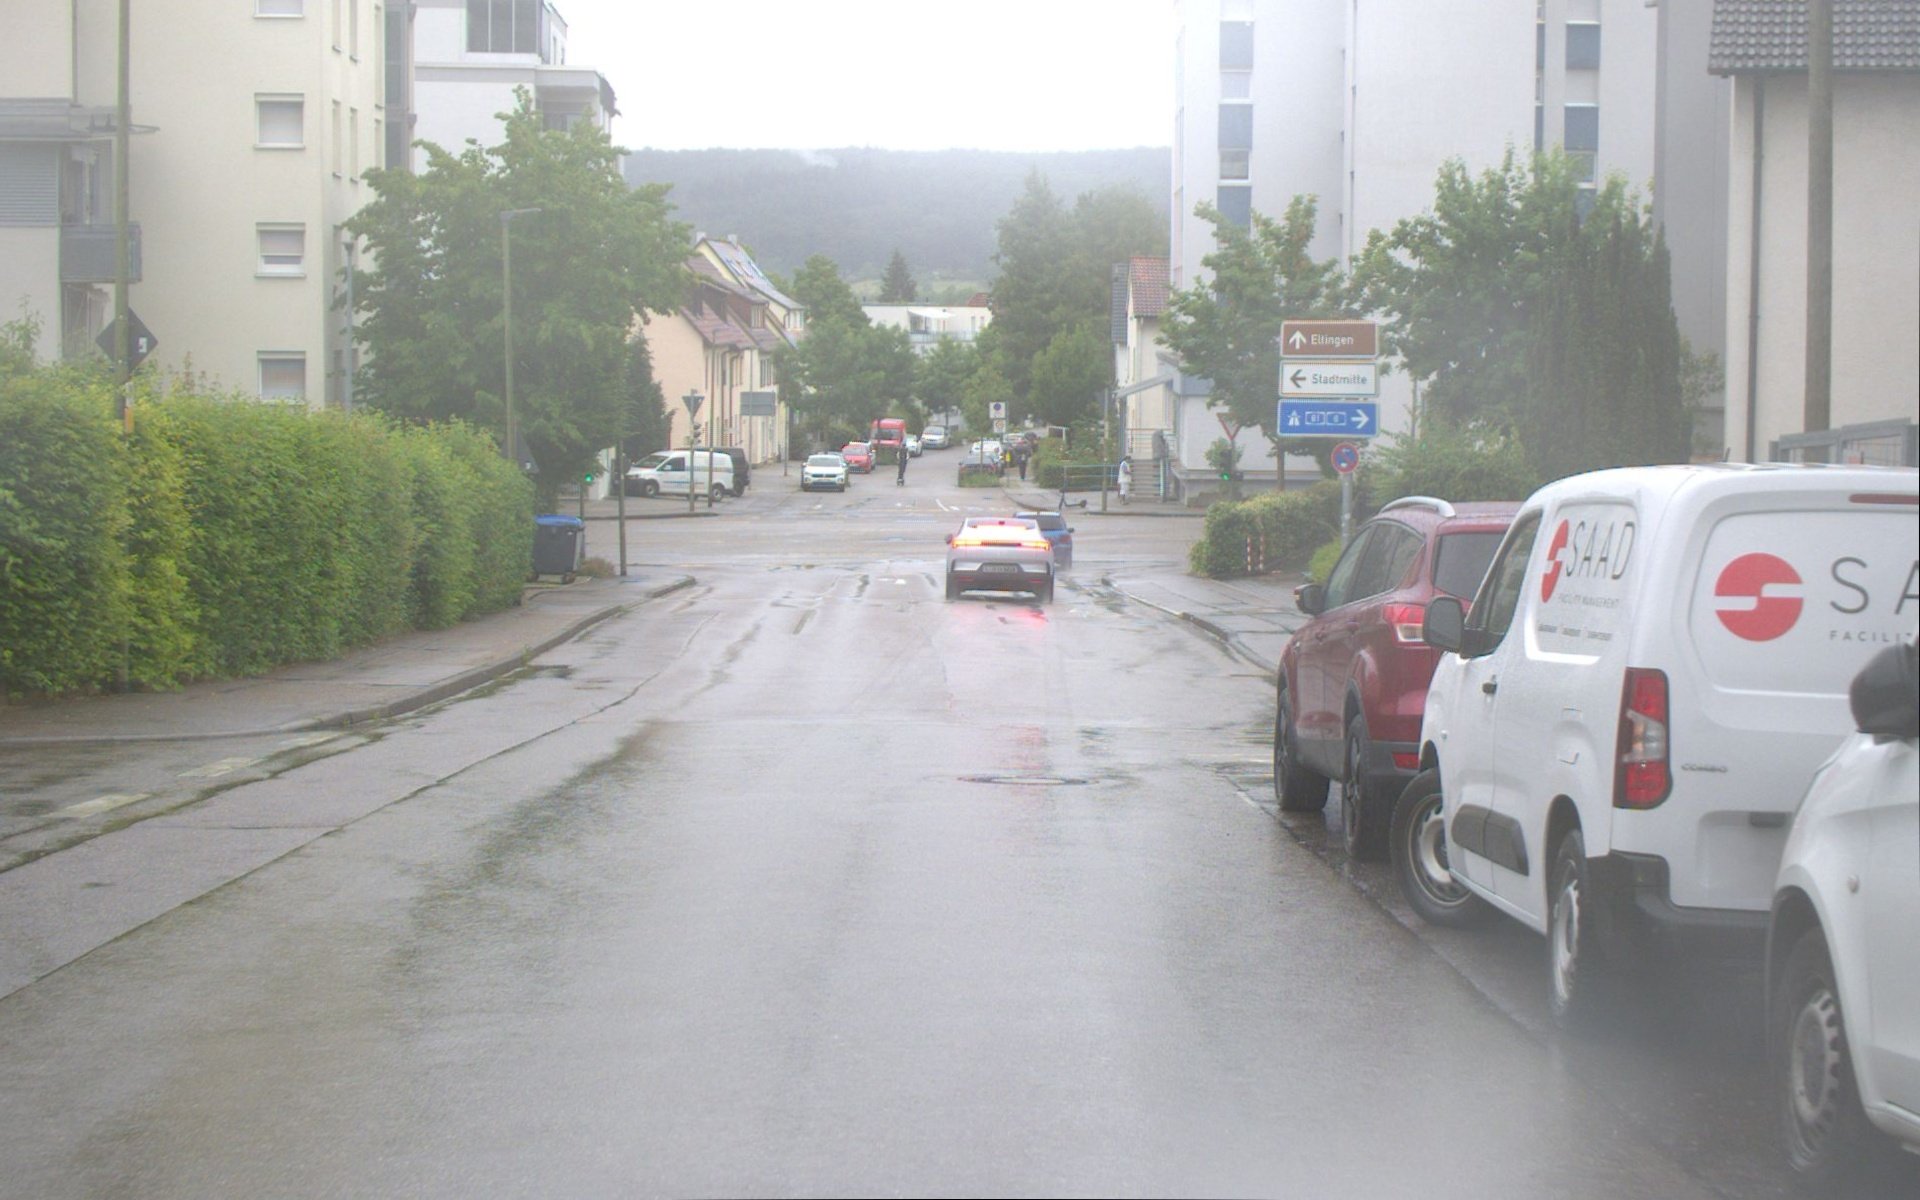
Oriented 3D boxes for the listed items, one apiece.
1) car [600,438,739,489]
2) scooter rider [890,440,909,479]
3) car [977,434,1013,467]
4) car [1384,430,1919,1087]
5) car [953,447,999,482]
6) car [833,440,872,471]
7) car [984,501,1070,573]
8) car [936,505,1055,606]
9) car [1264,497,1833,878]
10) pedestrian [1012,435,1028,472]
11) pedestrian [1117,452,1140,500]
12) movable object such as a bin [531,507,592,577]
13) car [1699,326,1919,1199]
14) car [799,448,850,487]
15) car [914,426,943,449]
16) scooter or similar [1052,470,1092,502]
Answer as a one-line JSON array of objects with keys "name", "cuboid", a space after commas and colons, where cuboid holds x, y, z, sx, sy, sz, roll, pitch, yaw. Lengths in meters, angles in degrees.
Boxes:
[{"name": "car", "cuboid": [-10.823, -5.100, 128.205, 4.830, 1.829, 2.000, -3, 4, -38]}, {"name": "scooter rider", "cuboid": [-2.838, -6.567, 160.940, 0.752, 1.789, 0.673, -1, 3, -11]}, {"name": "car", "cuboid": [1.871, -8.019, 184.107, 1.901, 1.739, 4.192, -1, 3, 0]}, {"name": "car", "cuboid": [2.689, 0.385, 11.823, 1.878, 1.827, 4.489, 0, 2, 0]}, {"name": "car", "cuboid": [0.757, -6.399, 162.255, 2.146, 1.583, 4.129, -1, 3, 0]}, {"name": "car", "cuboid": [-5.776, -7.781, 185.003, 1.901, 1.553, 4.192, -1, 3, 0]}, {"name": "car", "cuboid": [1.725, -1.655, 89.340, 1.993, 1.678, 4.001, -1, 3, -2]}, {"name": "car", "cuboid": [0.632, -0.853, 63.734, 1.993, 1.678, 4.001, -1, 3, -2]}, {"name": "car", "cuboid": [2.767, 0.312, 17.361, 1.993, 1.638, 4.959, 0, 2, 0]}, {"name": "pedestrian", "cuboid": [2.947, -7.222, 169.457, 0.746, 1.842, 0.526, 0, 1, 5]}, {"name": "pedestrian", "cuboid": [5.895, -4.338, 120.592, 0.647, 1.641, 0.526, 3, 2, -6]}, {"name": "movable object such as a bin", "cuboid": [-7.925, -1.153, 68.351, 1.071, 1.343, 1.319, 2, 2, -2]}, {"name": "car", "cuboid": [2.944, 0.426, 6.489, 1.993, 1.928, 4.976, 0, 2, 0]}, {"name": "car", "cuboid": [-5.825, -5.743, 148.586, 1.993, 1.620, 4.192, -1, 3, 0]}, {"name": "car", "cuboid": [-2.125, -11.129, 235.162, 1.901, 1.553, 4.192, -1, 3, 0]}, {"name": "scooter or similar", "cuboid": [3.881, -3.970, 119.283, 1.268, 1.077, 0.877, -1, 3, -4]}]
